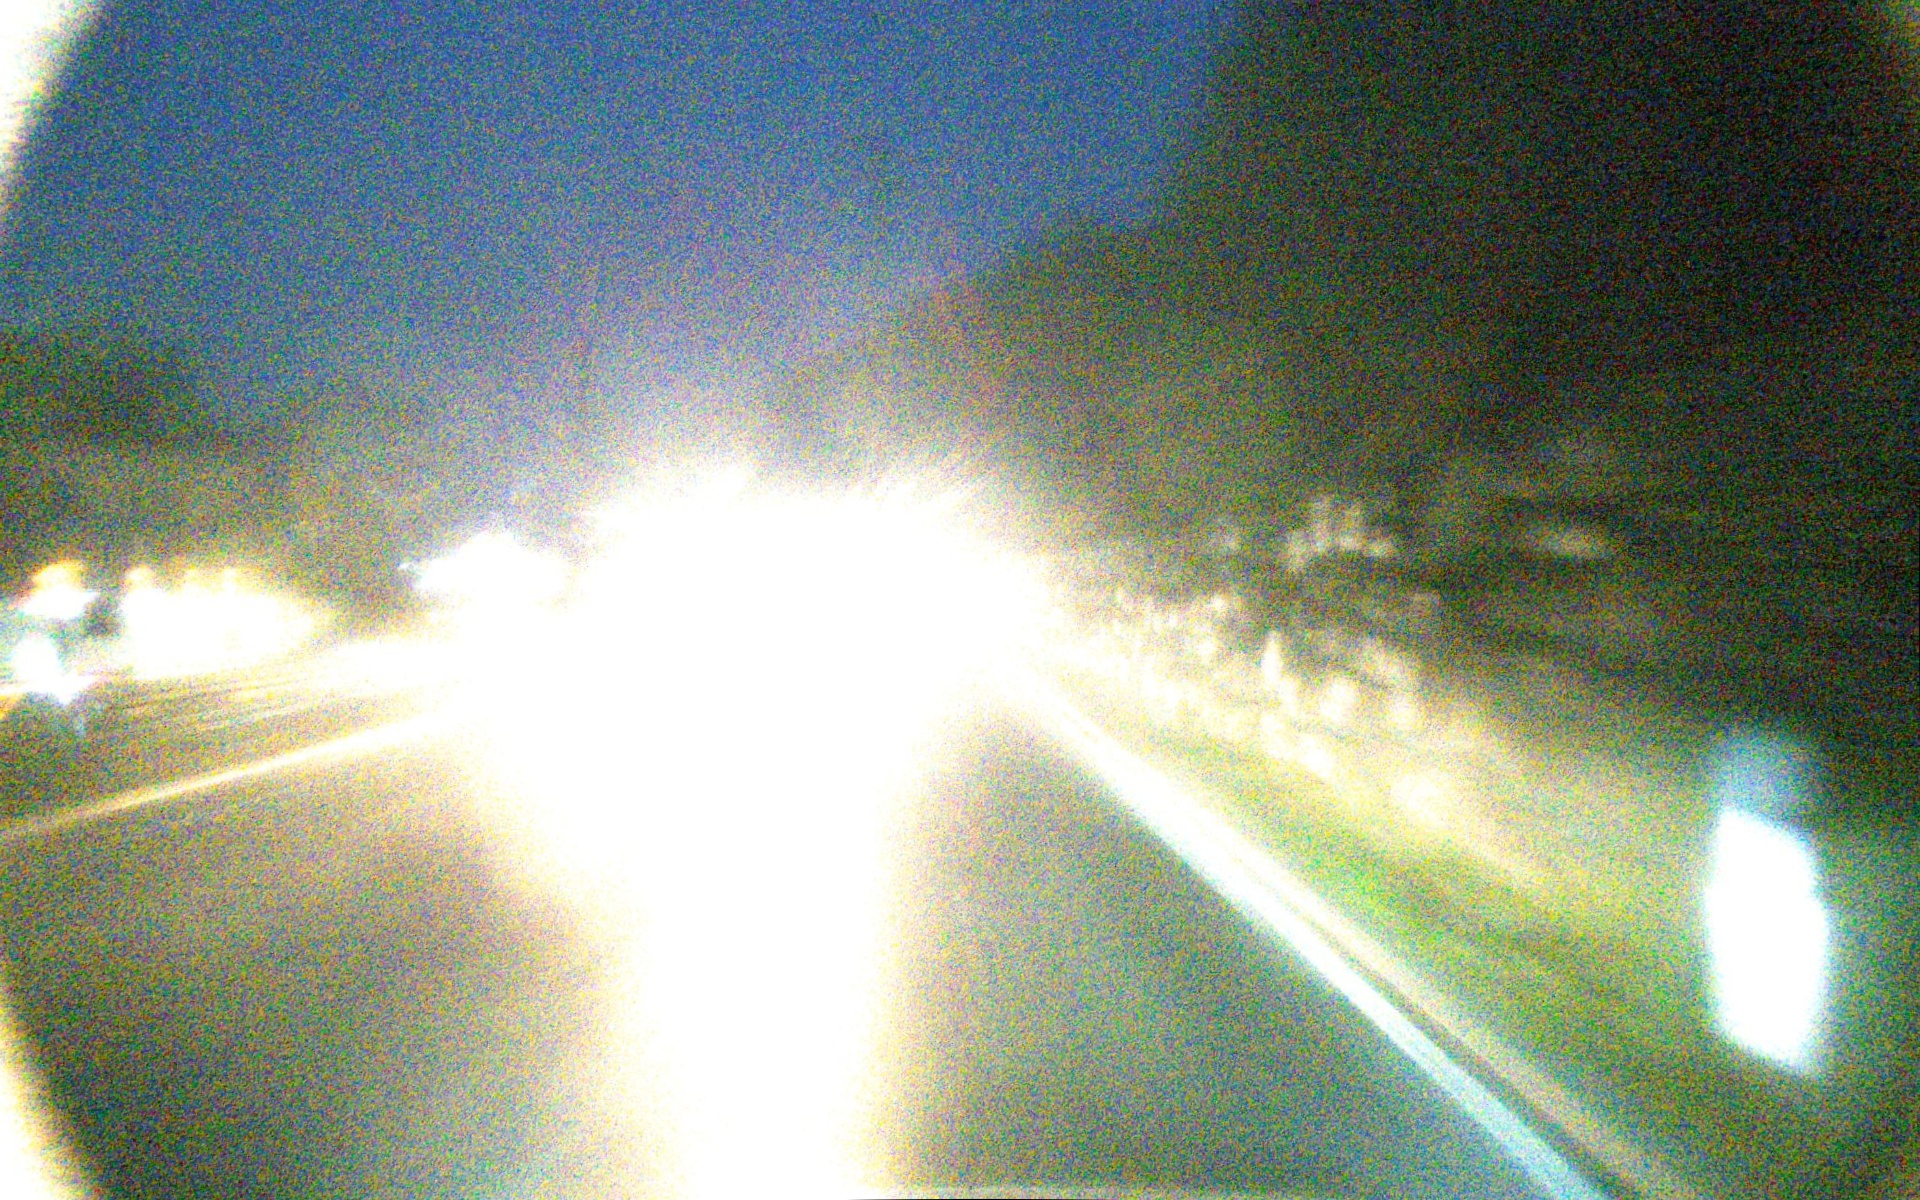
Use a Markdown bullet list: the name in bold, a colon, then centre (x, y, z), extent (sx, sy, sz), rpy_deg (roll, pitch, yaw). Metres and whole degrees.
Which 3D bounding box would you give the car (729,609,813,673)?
- **car**: centre (-4.544, 0.953, 40.258), extent (1.677, 1.442, 4.064), rpy_deg (1, 0, -2)

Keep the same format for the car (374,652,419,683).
- **car**: centre (-32.319, 3.871, 94.942), extent (1.776, 1.597, 4.281), rpy_deg (1, 0, -11)

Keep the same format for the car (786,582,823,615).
- **car**: centre (-7.438, -0.073, 79.423), extent (1.604, 1.546, 3.768), rpy_deg (-1, 0, -3)

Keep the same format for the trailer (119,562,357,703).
- **trailer**: centre (-27.265, 1.155, 63.373), extent (3.257, 4.880, 11.561), rpy_deg (1, 0, 4)

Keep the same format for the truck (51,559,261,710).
- **truck**: centre (-27.747, 1.135, 57.530), extent (3.257, 4.880, 7.323), rpy_deg (1, 0, 4)
